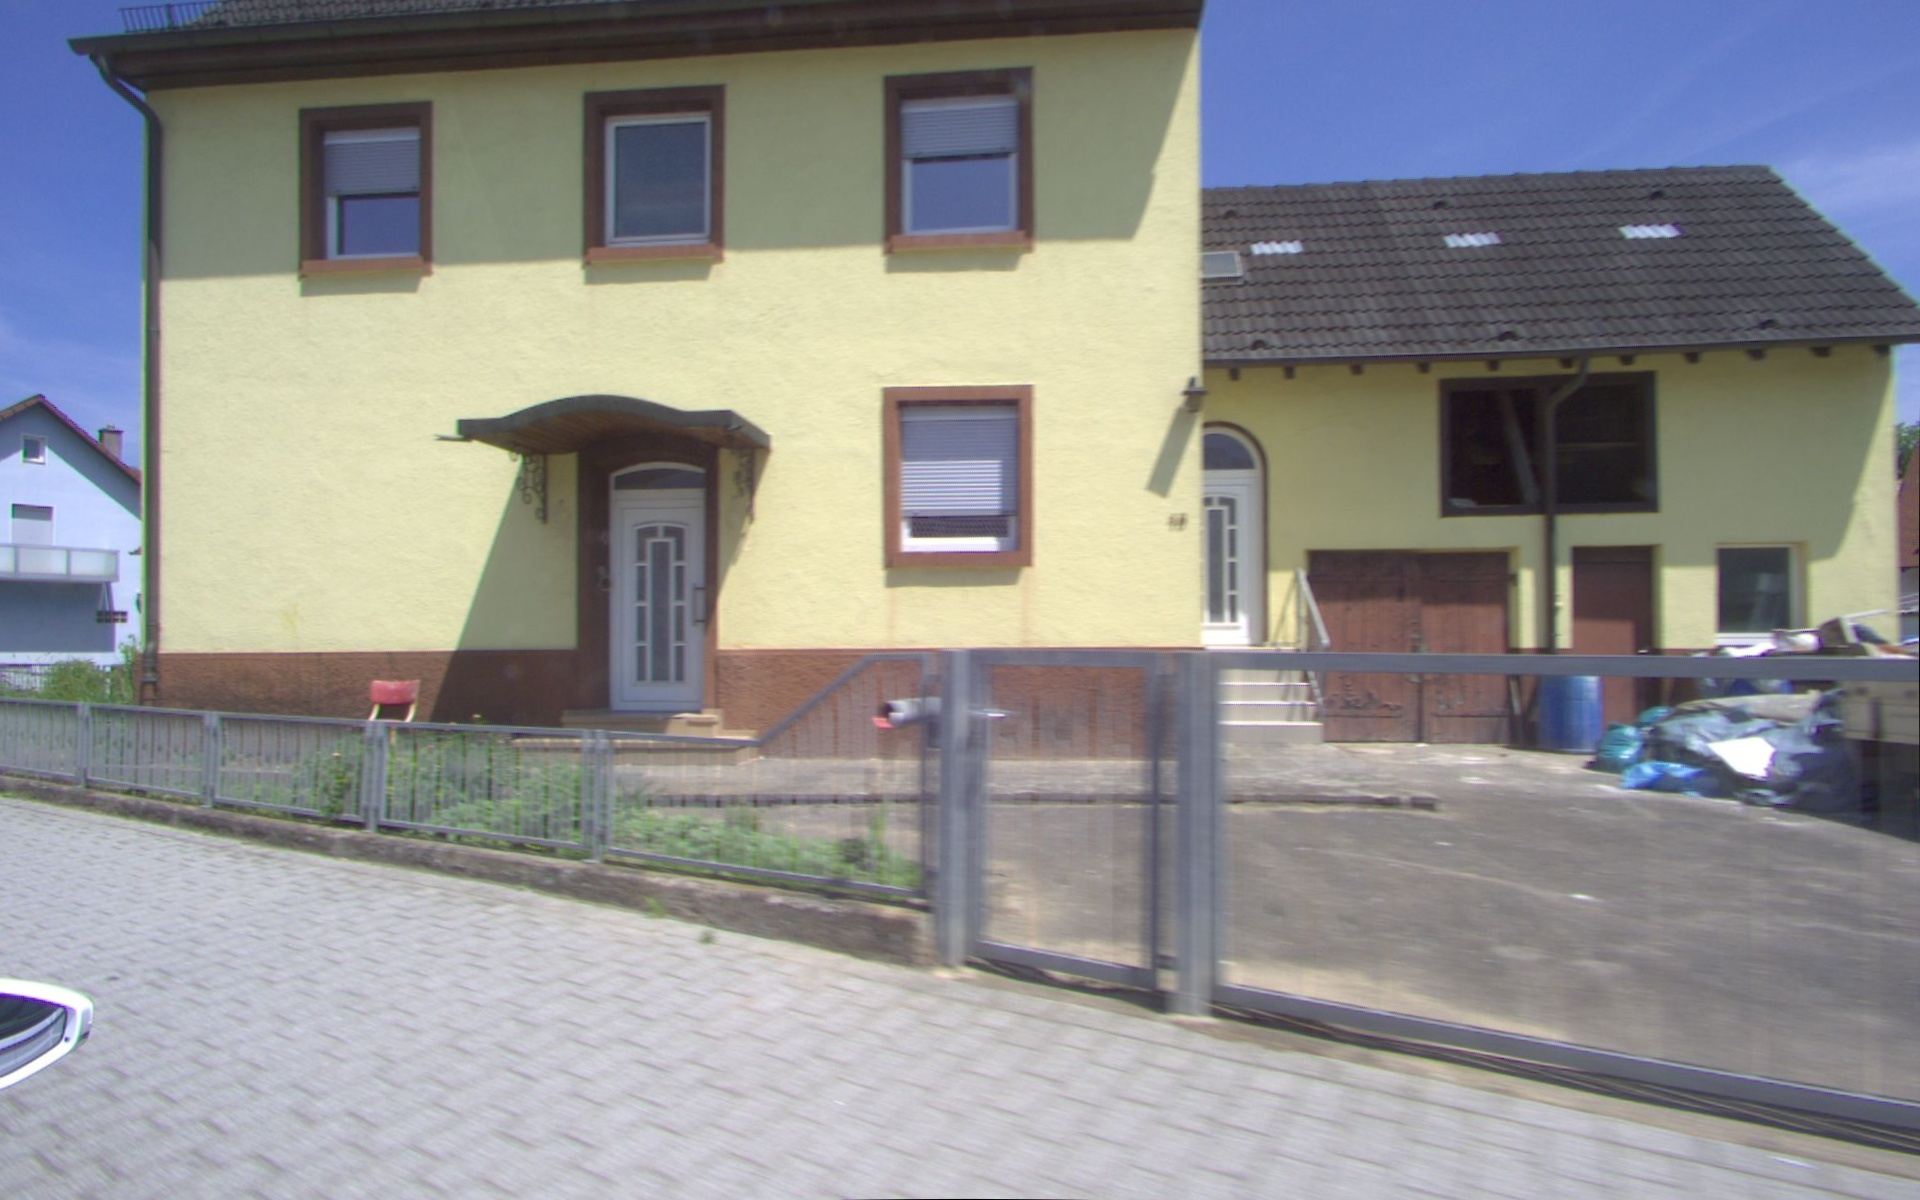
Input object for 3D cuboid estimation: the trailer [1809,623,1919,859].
[{"bbox_3d":[7.358,0.827,4.815,2.097,1.565,5.369,0,-3,2],"label":"trailer"}]
